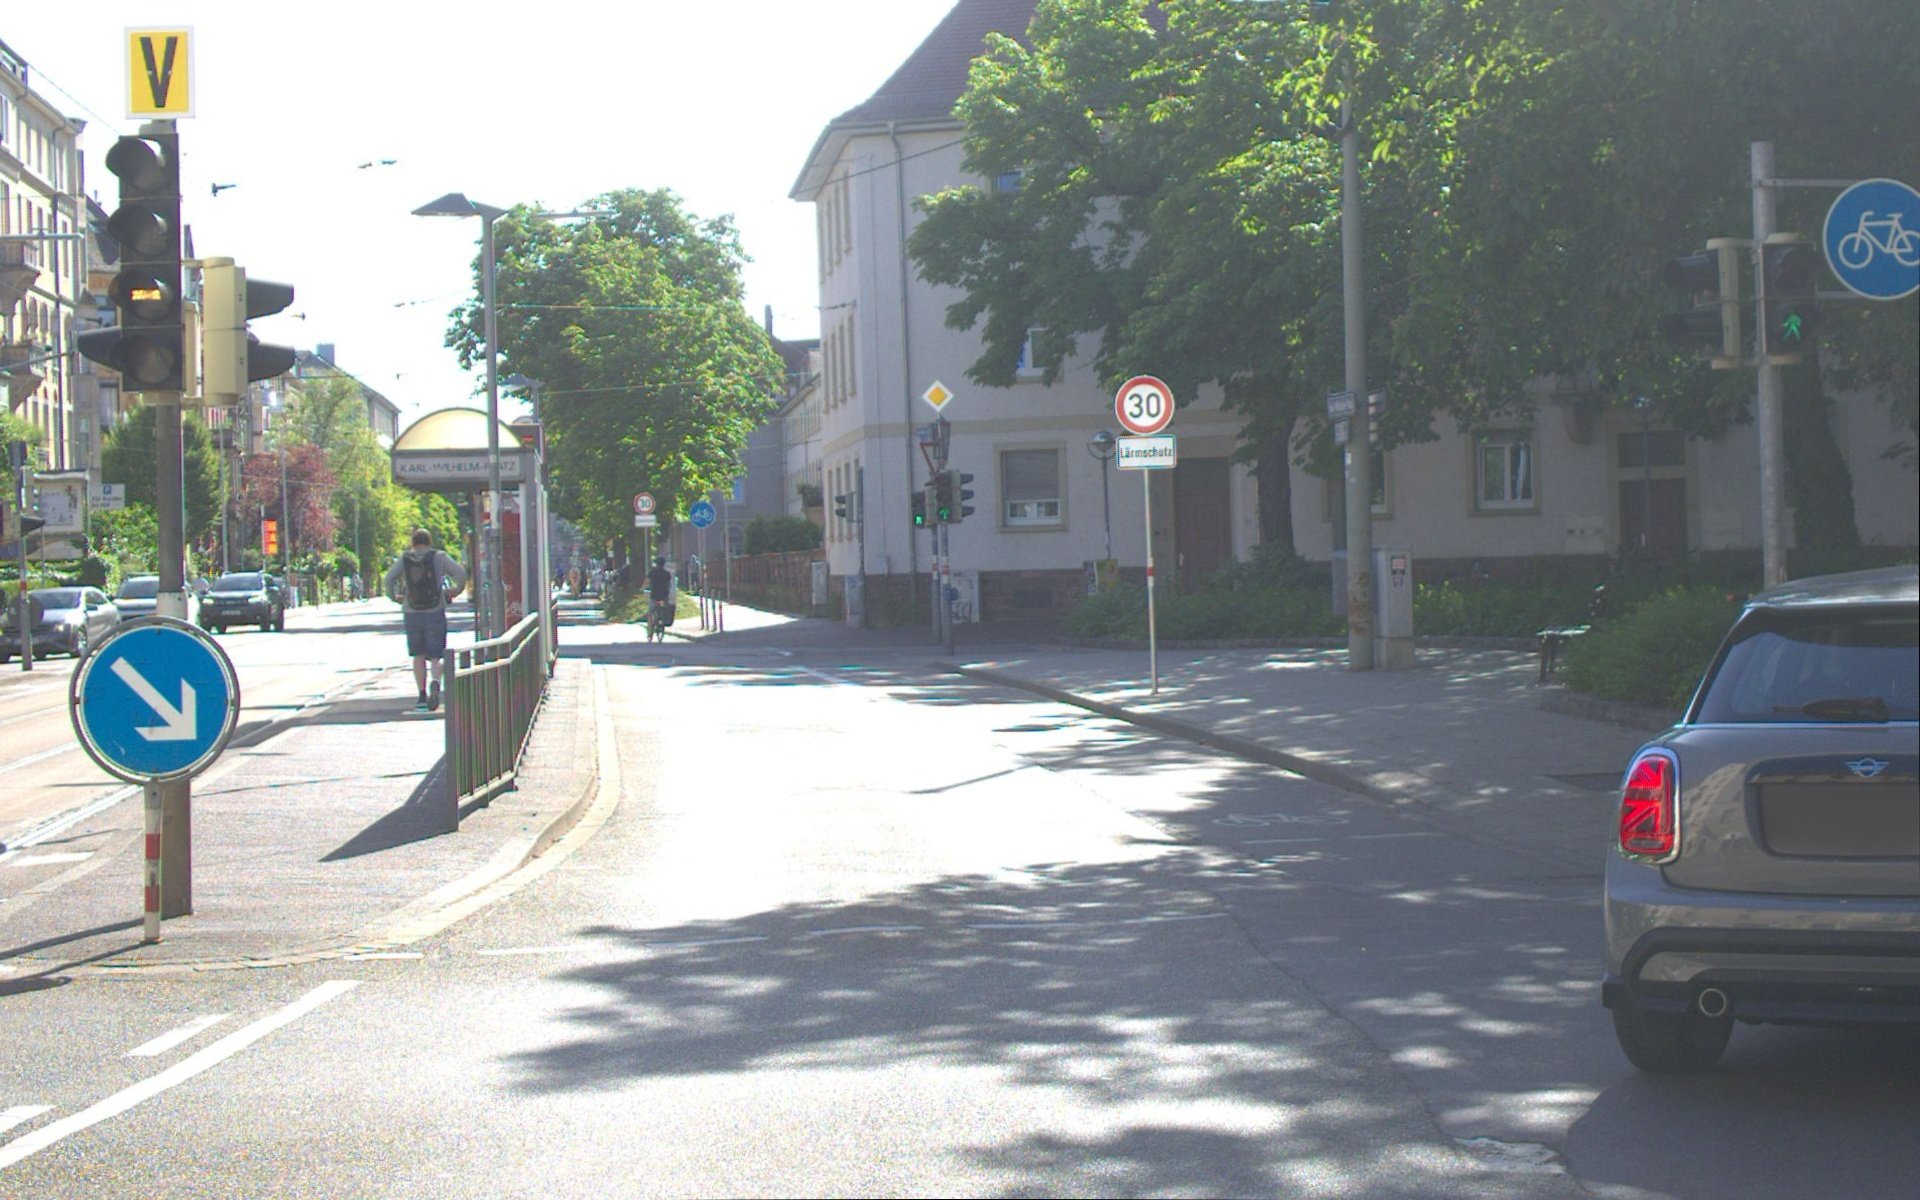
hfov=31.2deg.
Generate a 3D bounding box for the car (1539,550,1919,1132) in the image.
[{"bbox_3d":[3.349,0.602,10.539,1.818,1.483,3.993,0,0,30],"label":"car"}]

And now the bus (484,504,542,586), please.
[{"bbox_3d":[-19.749,-2.385,151.565,2.385,3.484,7.386,0,0,-8],"label":"bus"}]

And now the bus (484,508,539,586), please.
[{"bbox_3d":[-20.775,-2.410,158.903,2.385,3.484,7.386,0,0,-8],"label":"bus"}]

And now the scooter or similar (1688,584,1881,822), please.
[{"bbox_3d":[4.697,0.567,19.656,0.676,1.306,1.329,0,0,-5],"label":"scooter or similar"}]

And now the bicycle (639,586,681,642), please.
[{"bbox_3d":[-6.330,0.278,72.421,0.841,1.152,2.539,0,0,-6],"label":"bicycle"}]

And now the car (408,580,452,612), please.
[{"bbox_3d":[-26.944,-0.216,174.737,1.993,1.590,4.001,0,0,-6],"label":"car"}]

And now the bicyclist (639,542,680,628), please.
[{"bbox_3d":[-6.329,-0.317,72.428,0.817,1.805,1.059,0,0,-6],"label":"bicyclist"}]

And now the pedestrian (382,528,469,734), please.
[{"bbox_3d":[-5.272,0.303,33.932,0.795,2.007,0.740,0,0,-5],"label":"pedestrian"}]

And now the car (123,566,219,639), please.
[{"bbox_3d":[-18.065,0.057,78.837,1.775,1.612,4.001,0,0,-7],"label":"car"}]

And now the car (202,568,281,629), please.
[{"bbox_3d":[-19.398,-0.039,92.940,1.775,1.612,4.001,0,0,-7],"label":"car"}]

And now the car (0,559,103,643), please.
[{"bbox_3d":[-18.315,0.017,68.872,1.775,1.612,4.001,0,0,-7],"label":"car"}]
